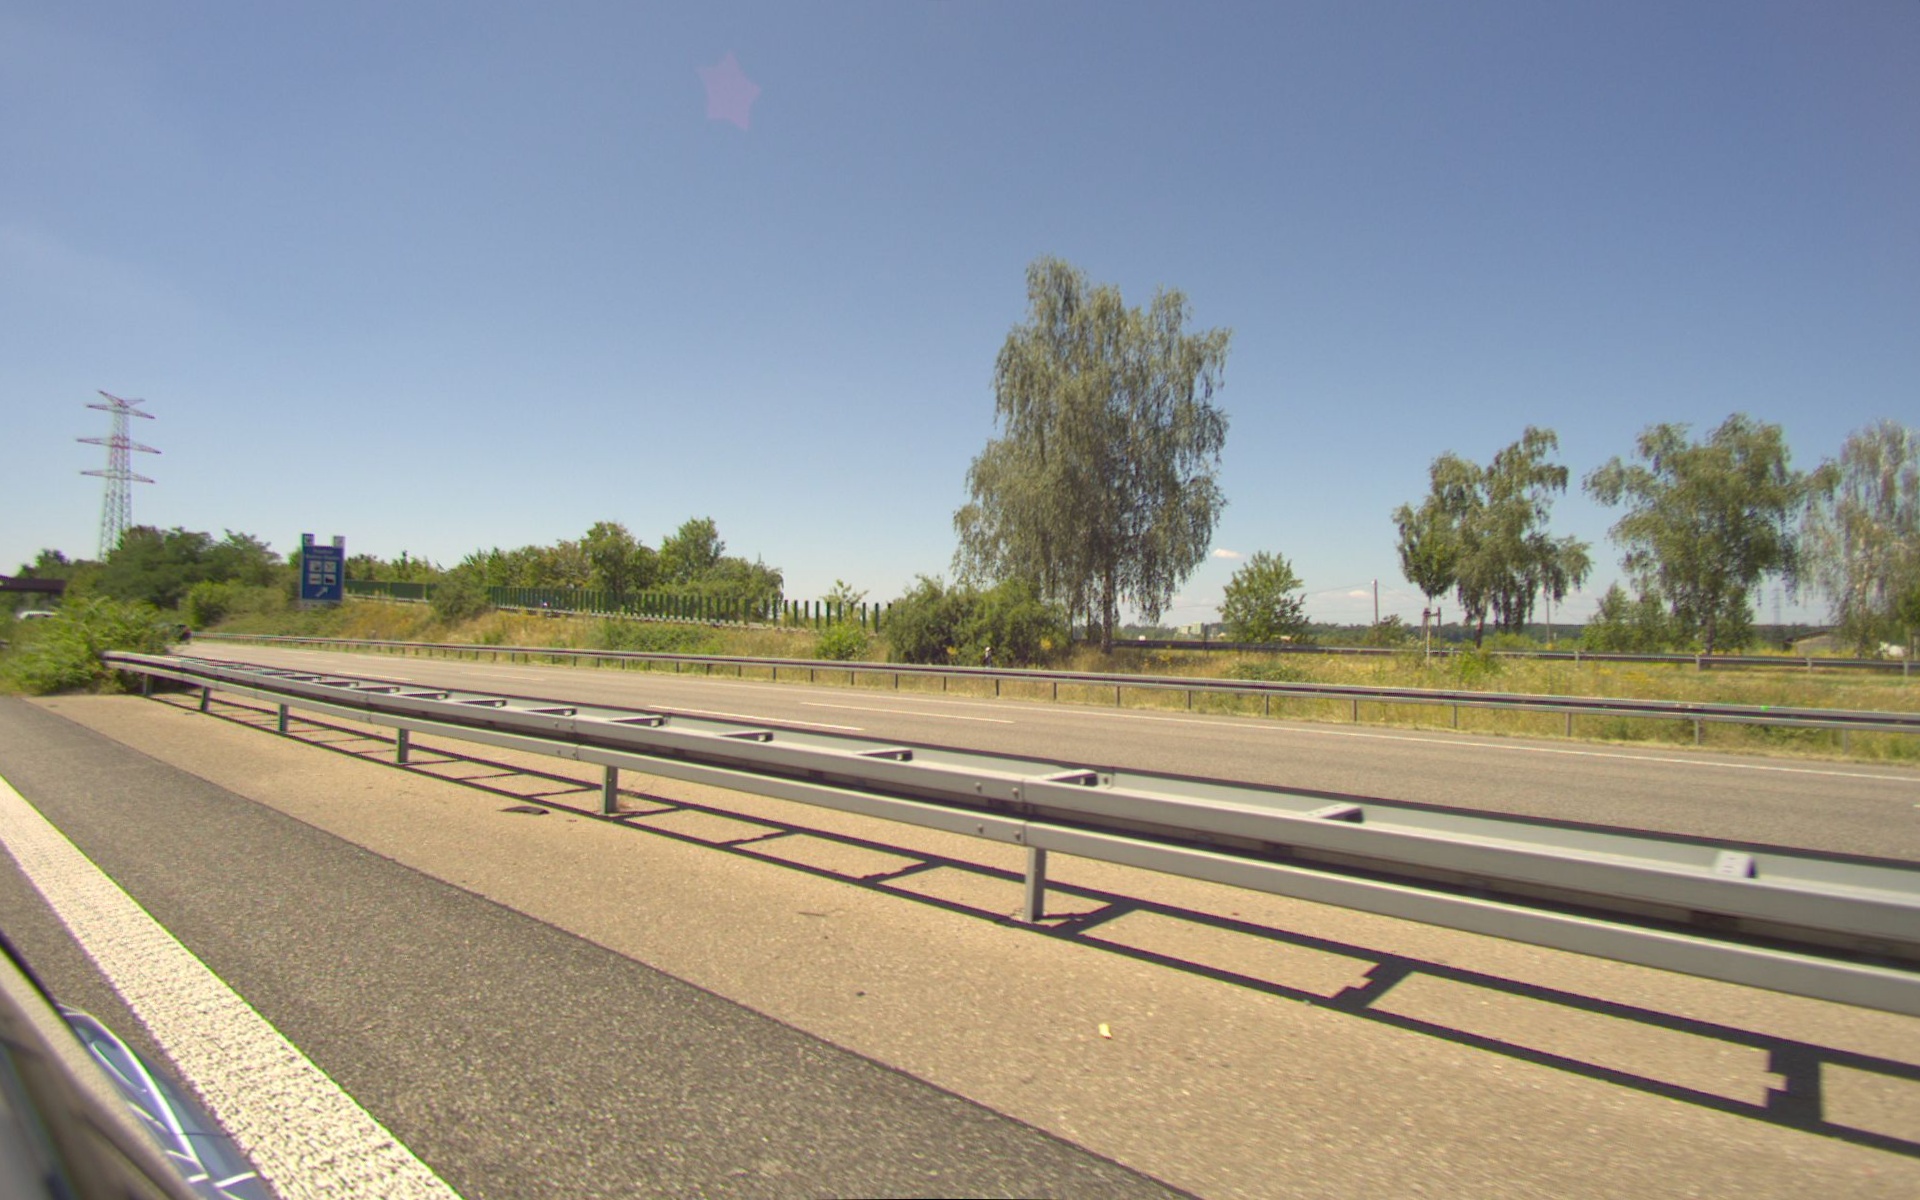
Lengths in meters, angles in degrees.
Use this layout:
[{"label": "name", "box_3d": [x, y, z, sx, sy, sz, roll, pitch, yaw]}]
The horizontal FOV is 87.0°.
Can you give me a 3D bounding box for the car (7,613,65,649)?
[{"label": "car", "box_3d": [-51.619, 1.702, 56.514, 4.768, 1.940, 1.744, -1, -2, 40]}]
